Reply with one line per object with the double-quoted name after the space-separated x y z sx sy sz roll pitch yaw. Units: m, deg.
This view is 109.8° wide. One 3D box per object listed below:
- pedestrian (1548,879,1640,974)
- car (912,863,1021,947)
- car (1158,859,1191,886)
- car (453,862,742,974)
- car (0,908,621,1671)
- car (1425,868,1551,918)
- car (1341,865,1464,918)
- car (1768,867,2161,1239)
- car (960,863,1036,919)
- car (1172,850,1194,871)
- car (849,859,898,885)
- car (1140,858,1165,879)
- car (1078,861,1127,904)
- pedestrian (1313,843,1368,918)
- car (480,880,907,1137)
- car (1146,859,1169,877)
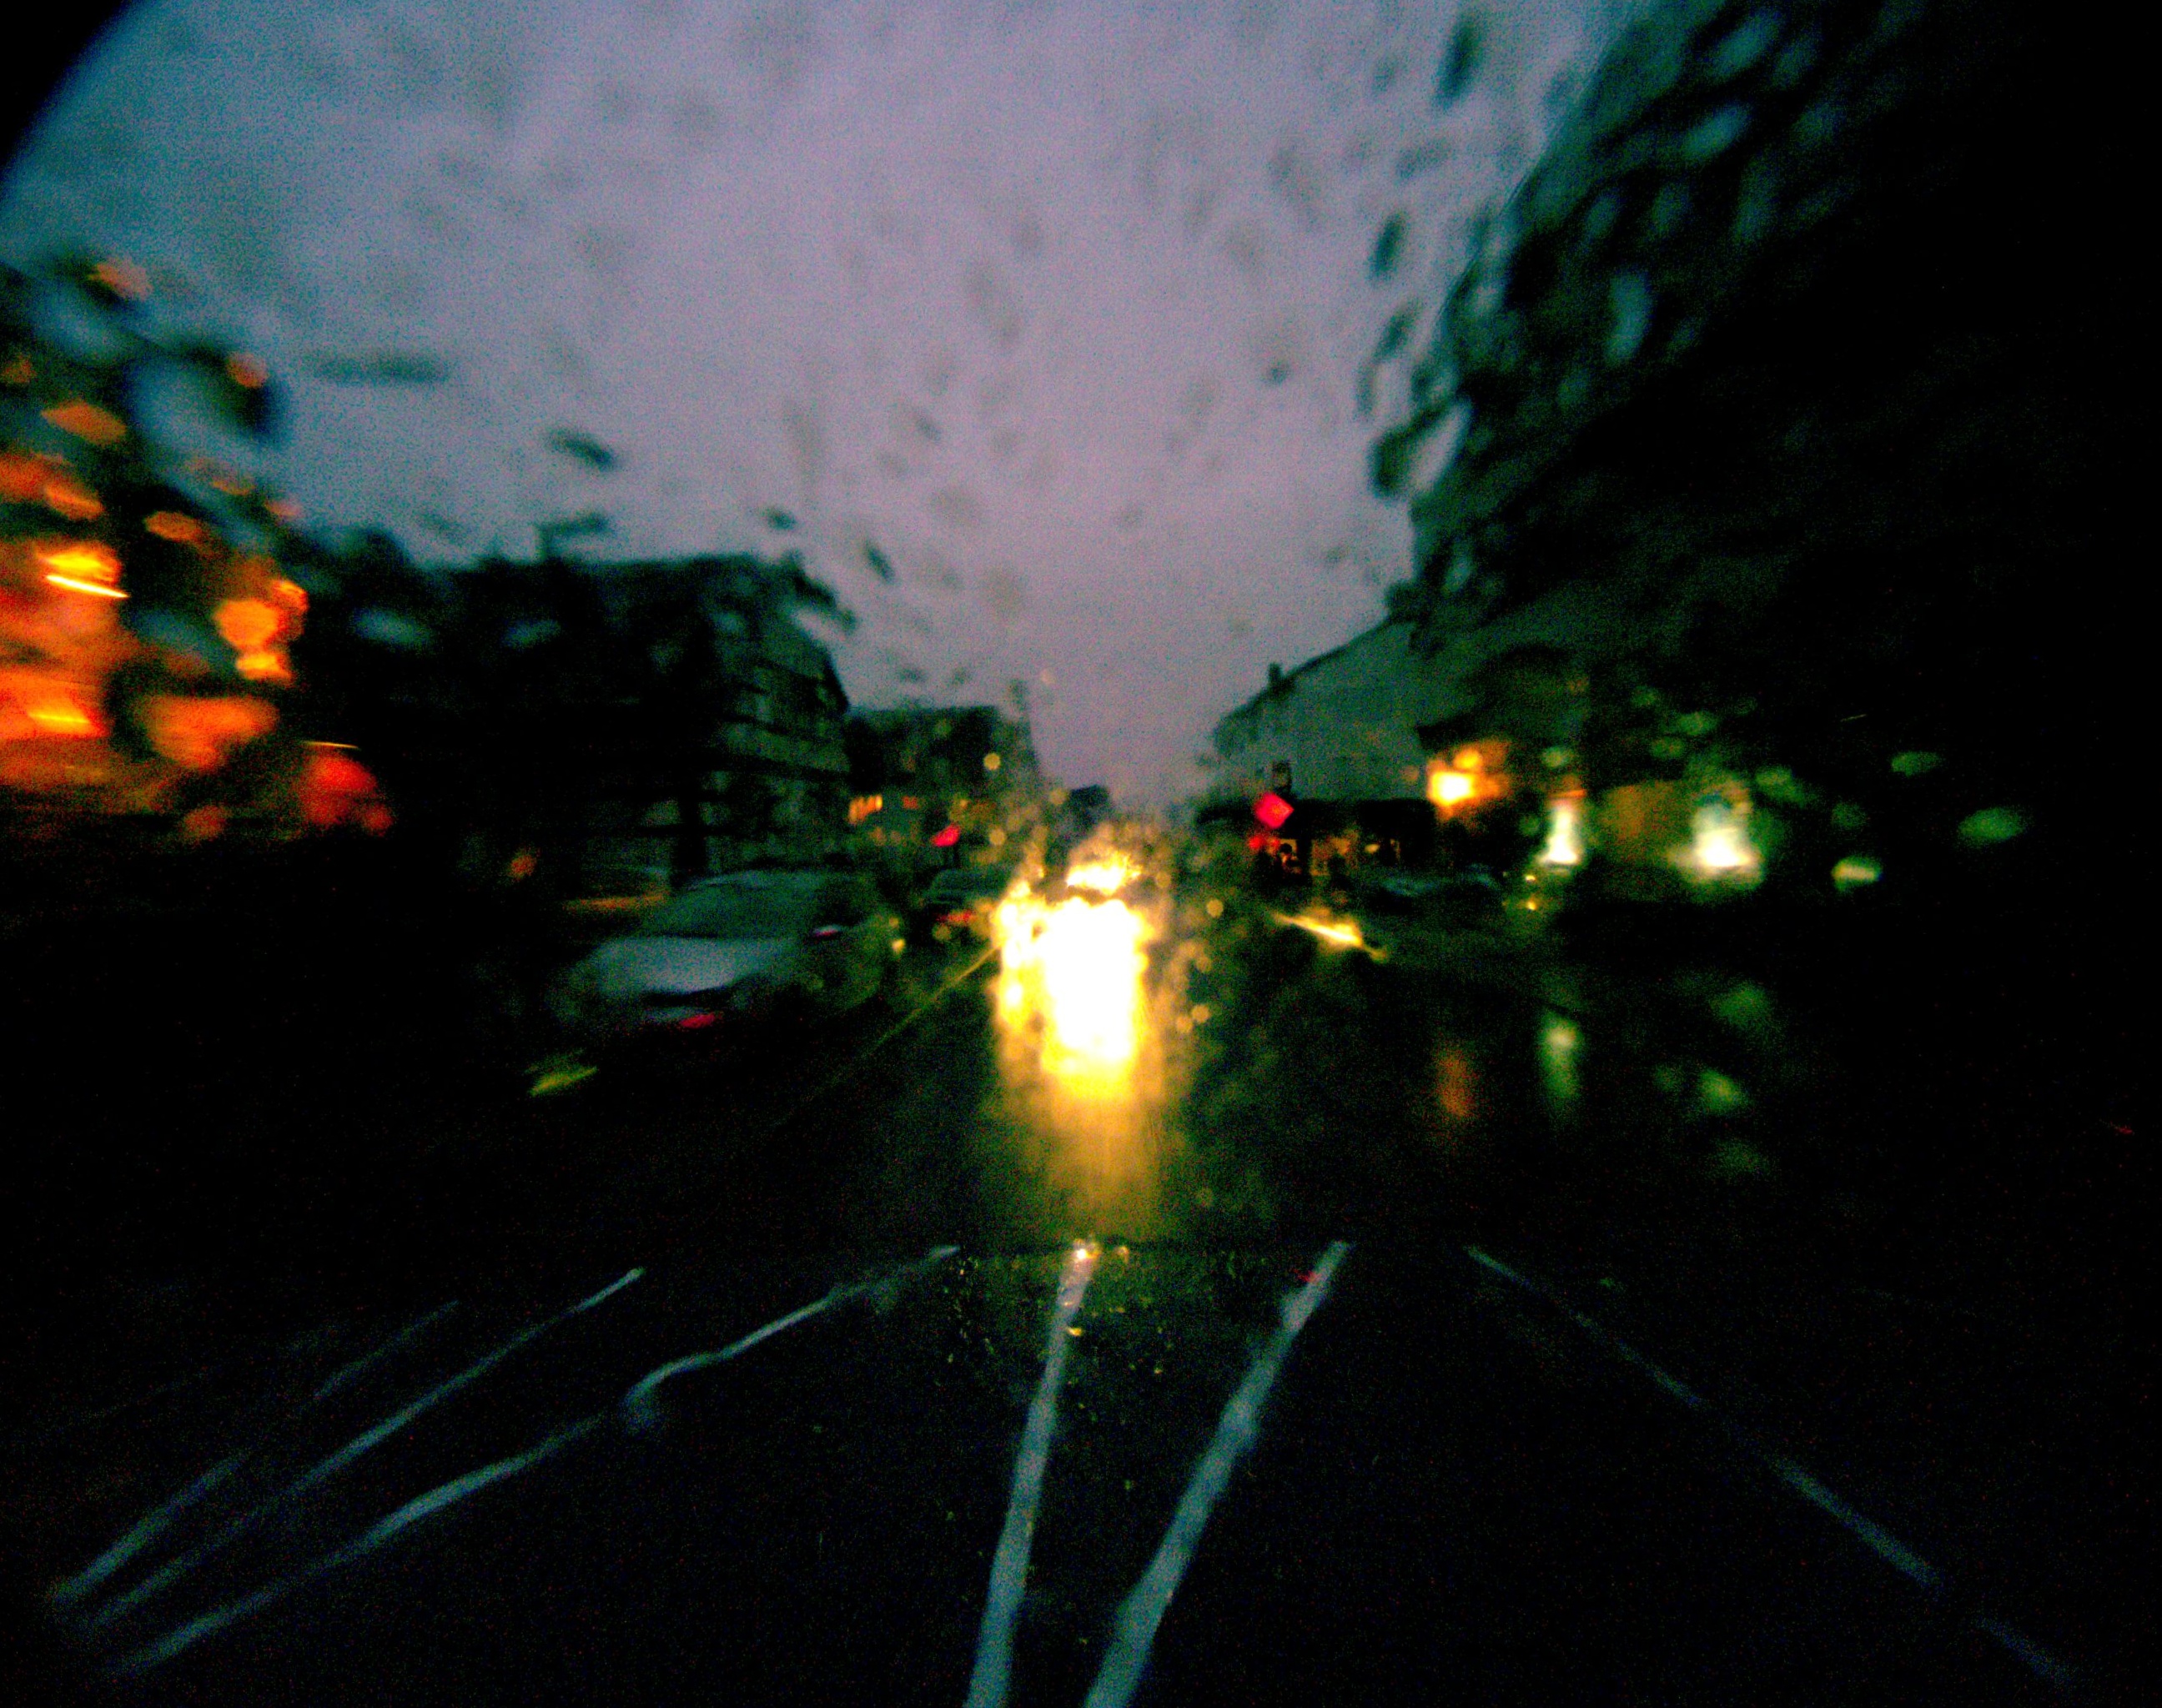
7.554 1.048 11.224 0.757 1.302 0.828 -2 0 -1 "pedestrian"
-2.391 1.020 16.961 1.769 1.517 4.389 1 0 0 "car"
5.953 1.168 48.814 1.725 1.604 3.816 -3 0 2 "car"
-7.236 0.920 11.624 3.298 1.433 1.686 2 1 0 "car"
-3.181 0.998 1.428 1.827 1.414 4.608 1 0 0 "car"
12.357 1.164 23.423 1.701 1.392 4.452 0 -2 3 "car"
9.755 1.109 23.457 1.768 1.490 4.450 0 -2 -2 "car"
5.489 0.883 3.223 1.619 1.524 3.928 -3 0 2 "car"
-2.402 1.048 22.956 1.736 1.450 4.000 1 0 1 "car"
13.824 0.882 102.888 2.044 2.643 4.215 -3 -1 17 "car"
-12.301 1.034 44.920 1.798 1.459 4.214 1 -1 -30 "car"
7.041 1.400 74.271 1.883 1.888 4.839 -3 -1 10 "car"
0.869 1.134 31.501 1.878 1.622 4.001 -1 0 1 "car"
6.816 0.700 20.036 1.200 1.926 0.977 -1 0 9 "pedestrian"
-2.878 1.029 6.664 1.630 1.433 3.800 1 0 3 "car"
6.612 1.188 65.086 1.798 1.447 4.397 -3 0 7 "car"
